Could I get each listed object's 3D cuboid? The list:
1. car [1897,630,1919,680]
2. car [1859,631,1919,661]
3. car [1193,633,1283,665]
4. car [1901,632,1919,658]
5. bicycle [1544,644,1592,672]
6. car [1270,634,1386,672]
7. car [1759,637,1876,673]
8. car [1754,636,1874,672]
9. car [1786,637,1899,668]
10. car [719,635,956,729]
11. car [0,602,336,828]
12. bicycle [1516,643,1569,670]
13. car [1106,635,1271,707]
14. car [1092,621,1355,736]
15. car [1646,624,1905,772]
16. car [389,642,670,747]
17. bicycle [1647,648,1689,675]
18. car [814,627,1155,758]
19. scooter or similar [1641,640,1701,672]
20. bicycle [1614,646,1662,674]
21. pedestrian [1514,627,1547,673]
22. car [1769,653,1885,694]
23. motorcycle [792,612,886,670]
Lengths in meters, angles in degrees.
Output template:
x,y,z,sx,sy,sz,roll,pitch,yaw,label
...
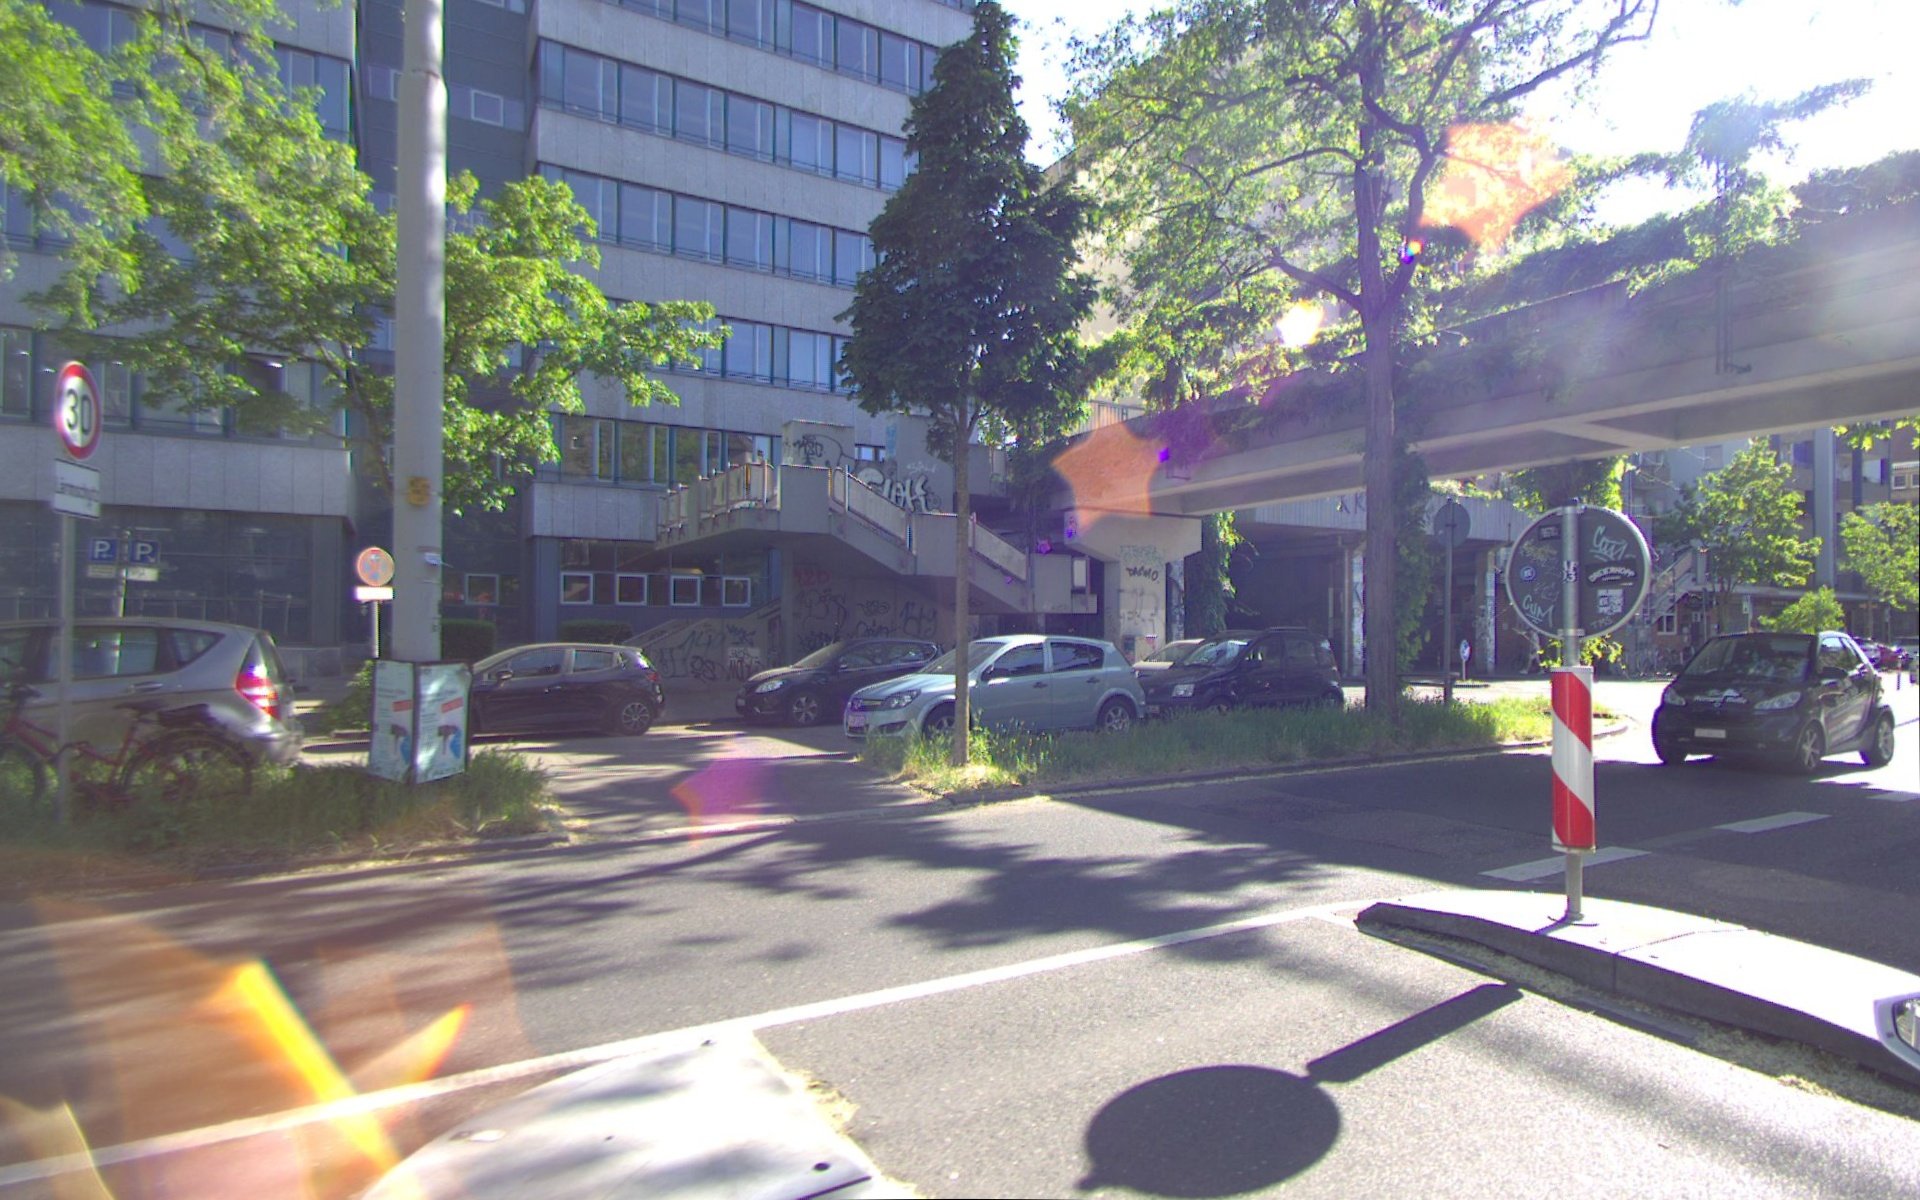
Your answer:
x,y,z,sx,sy,sz,roll,pitch,yaw,label
31.413,1.737,31.842,3.494,1.538,1.710,1,-3,-33,car
52.512,2.534,55.511,1.670,1.651,3.963,1,-2,-33,car
13.078,2.301,47.415,1.747,1.429,4.030,1,-2,-31,car
61.730,2.832,62.780,1.670,1.651,3.963,1,-2,-33,car
24.234,2.286,40.024,1.592,1.014,0.414,1,1,37,bicycle
15.553,2.228,42.723,1.834,1.451,4.574,3,-3,-28,car
41.585,2.655,48.795,1.822,1.628,3.963,1,-2,-33,car
40.151,2.506,47.302,1.751,1.571,3.963,1,-2,-33,car
43.842,2.593,49.980,1.670,1.443,3.963,1,-2,-33,car
-2.200,1.414,18.345,3.954,1.550,1.724,1,-2,-31,car
-7.531,0.874,8.204,4.035,1.668,1.764,1,-2,-30,car
23.252,2.235,40.112,0.480,1.014,1.782,0,-1,-38,bicycle
5.232,1.560,22.905,3.607,1.505,1.598,1,-2,-31,car
4.038,1.150,15.297,3.735,1.558,1.732,1,-4,-31,car
9.610,1.071,11.826,2.783,1.547,1.460,1,-2,-30,car
-6.608,1.366,15.522,3.761,1.422,1.671,1,-2,-34,car
27.795,2.395,39.435,1.775,1.014,0.413,1,2,-21,bicycle
0.385,1.146,13.076,4.235,1.466,1.644,1,-5,-32,car
29.601,2.309,41.853,0.624,1.294,1.954,1,-1,-35,scooter or similar
26.008,2.313,38.518,1.771,1.045,0.414,1,2,-14,bicycle
22.044,1.938,38.824,0.787,1.722,0.751,1,1,-31,pedestrian
32.959,2.754,38.187,4.473,1.416,1.883,1,-2,-29,car
-2.778,0.929,23.085,2.030,1.287,0.725,1,-2,-32,motorcycle
